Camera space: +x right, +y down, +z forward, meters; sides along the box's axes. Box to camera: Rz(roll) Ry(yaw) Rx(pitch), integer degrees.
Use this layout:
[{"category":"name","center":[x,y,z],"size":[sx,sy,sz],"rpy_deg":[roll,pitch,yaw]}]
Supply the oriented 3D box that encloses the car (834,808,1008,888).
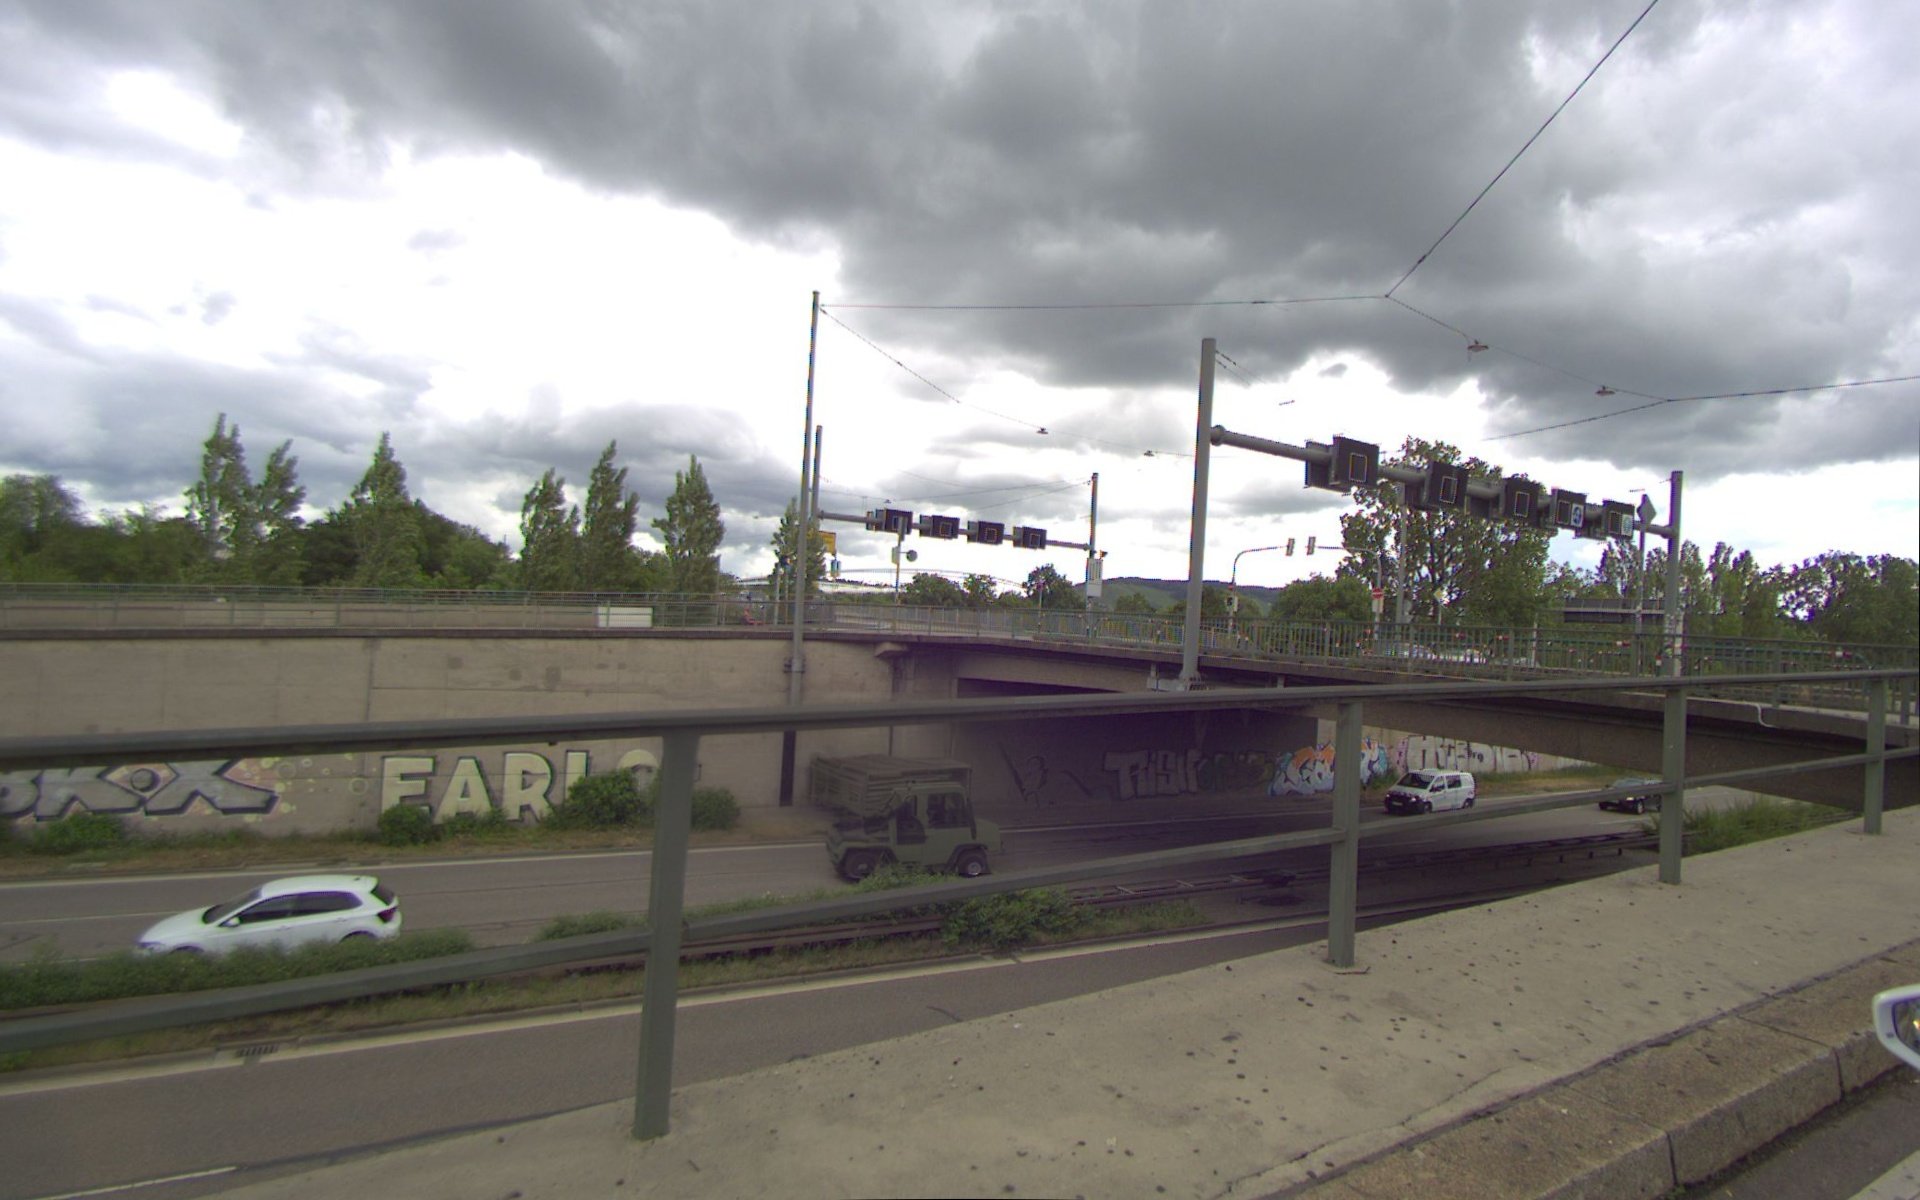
[{"category":"car","center":[-1.091,6.975,28.611],"size":[4.526,1.647,1.984],"rpy_deg":[4,-4,-30]}]

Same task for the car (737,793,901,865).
[{"category":"car","center":[-4.280,6.920,30.684],"size":[4.526,1.647,1.984],"rpy_deg":[4,-4,-30]}]

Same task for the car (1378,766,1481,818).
[{"category":"car","center":[21.640,8.784,46.223],"size":[4.856,1.932,1.937],"rpy_deg":[4,-3,-32]}]

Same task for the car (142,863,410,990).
[{"category":"car","center":[-12.435,5.925,18.574],"size":[3.853,1.513,1.766],"rpy_deg":[4,-4,-31]}]

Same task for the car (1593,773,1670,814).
[{"category":"car","center":[33.510,9.613,50.100],"size":[3.954,1.641,1.657],"rpy_deg":[4,-4,-30]}]
